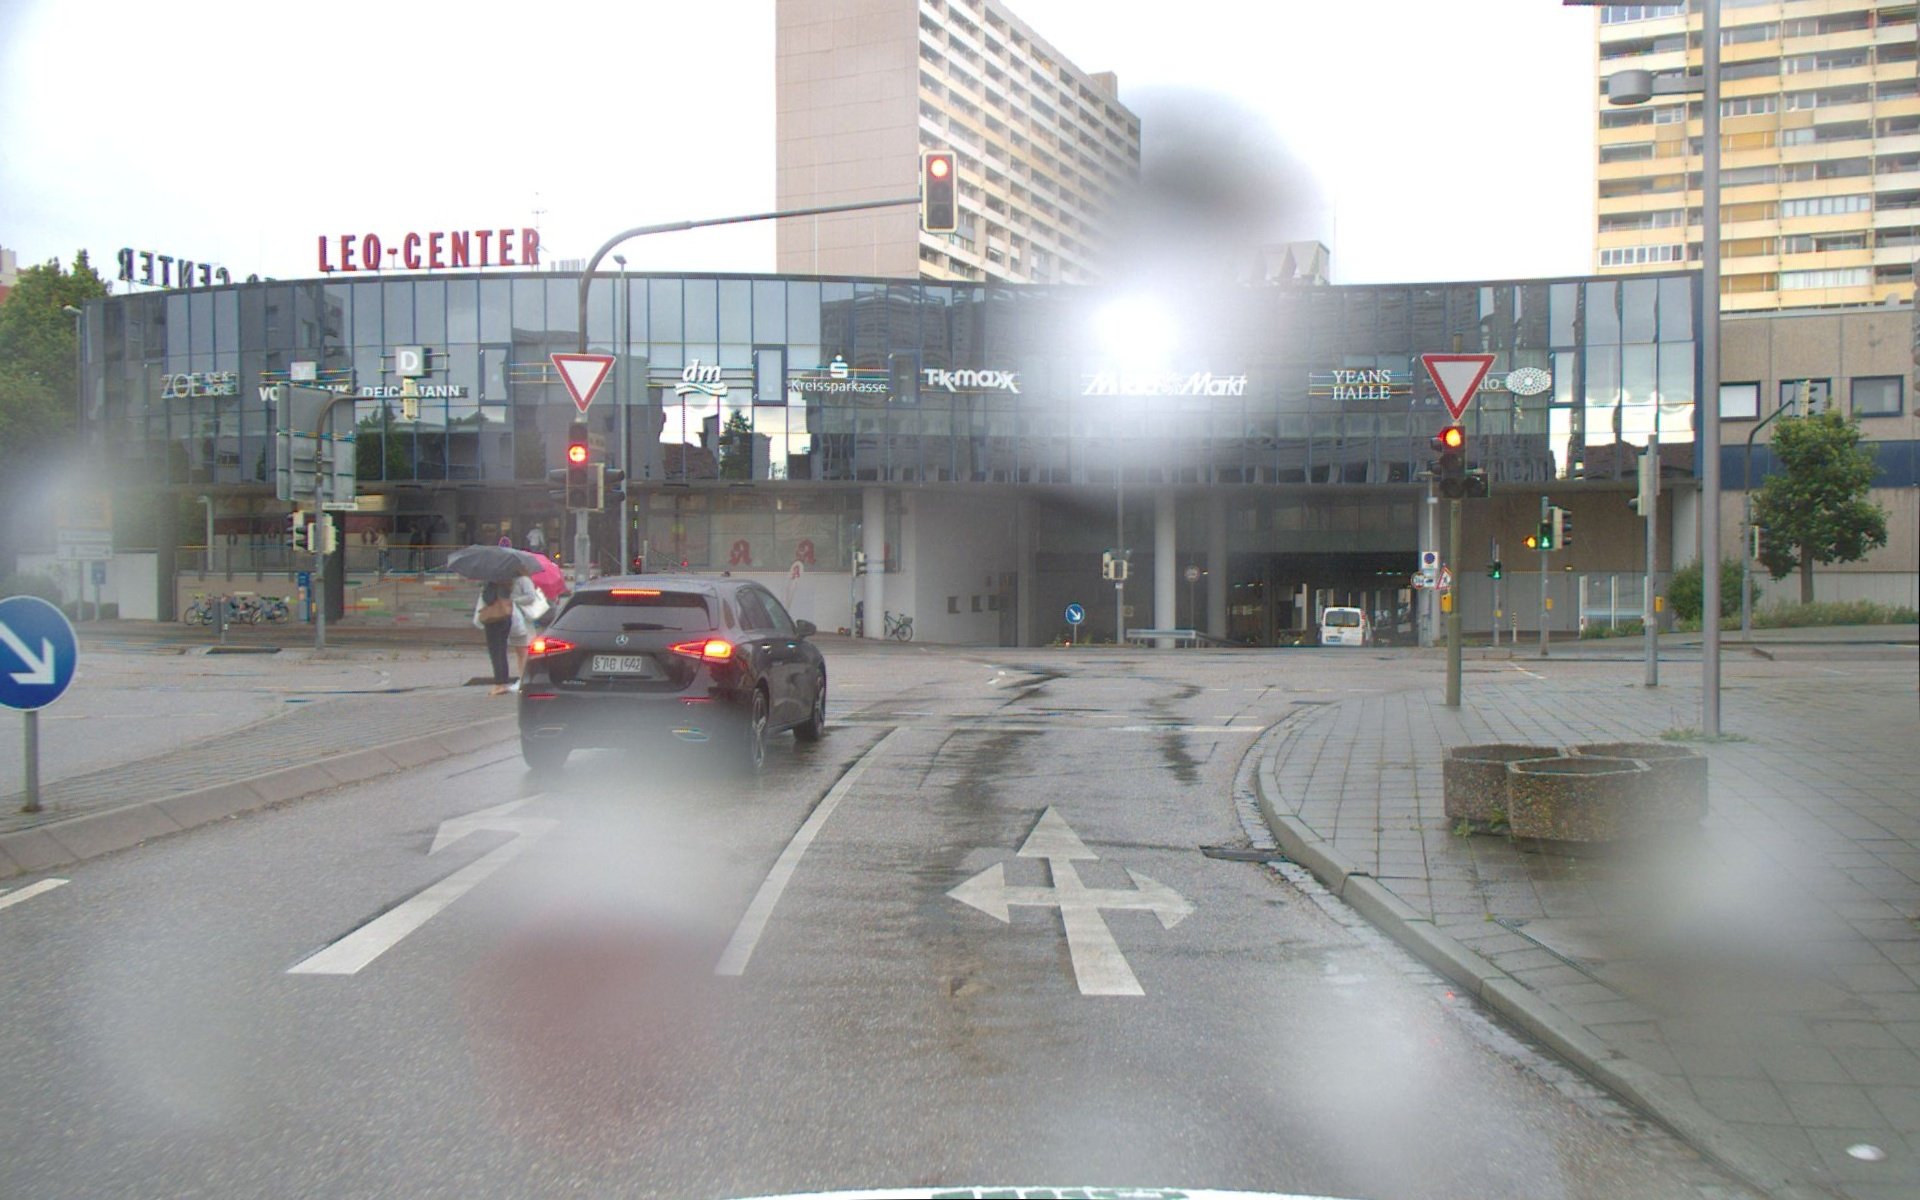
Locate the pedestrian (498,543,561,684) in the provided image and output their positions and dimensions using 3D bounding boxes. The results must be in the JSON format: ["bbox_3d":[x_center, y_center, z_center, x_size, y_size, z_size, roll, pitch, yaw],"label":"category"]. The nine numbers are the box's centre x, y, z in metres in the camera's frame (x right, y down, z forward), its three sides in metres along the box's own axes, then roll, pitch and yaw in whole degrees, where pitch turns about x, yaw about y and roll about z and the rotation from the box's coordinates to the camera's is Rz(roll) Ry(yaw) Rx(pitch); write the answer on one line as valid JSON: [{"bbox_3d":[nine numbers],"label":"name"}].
[{"bbox_3d":[-5.343,0.155,20.521,0.601,1.688,0.668,4,0,-20],"label":"pedestrian"}]

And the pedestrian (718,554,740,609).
[{"bbox_3d":[-8.585,-0.689,61.510,0.772,2.049,0.670,-1,0,-5],"label":"pedestrian"}]

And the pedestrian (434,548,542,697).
[{"bbox_3d":[-5.551,0.267,19.457,0.904,1.688,0.744,3,1,-43],"label":"pedestrian"}]

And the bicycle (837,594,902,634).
[{"bbox_3d":[-3.402,0.515,62.152,2.386,1.489,0.653,0,2,-18],"label":"bicycle"}]

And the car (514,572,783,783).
[{"bbox_3d":[-2.370,0.506,13.485,1.769,1.444,3.996,0,1,-5],"label":"car"}]

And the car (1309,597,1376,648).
[{"bbox_3d":[13.985,0.808,60.355,1.952,1.747,4.001,0,1,19],"label":"car"}]
